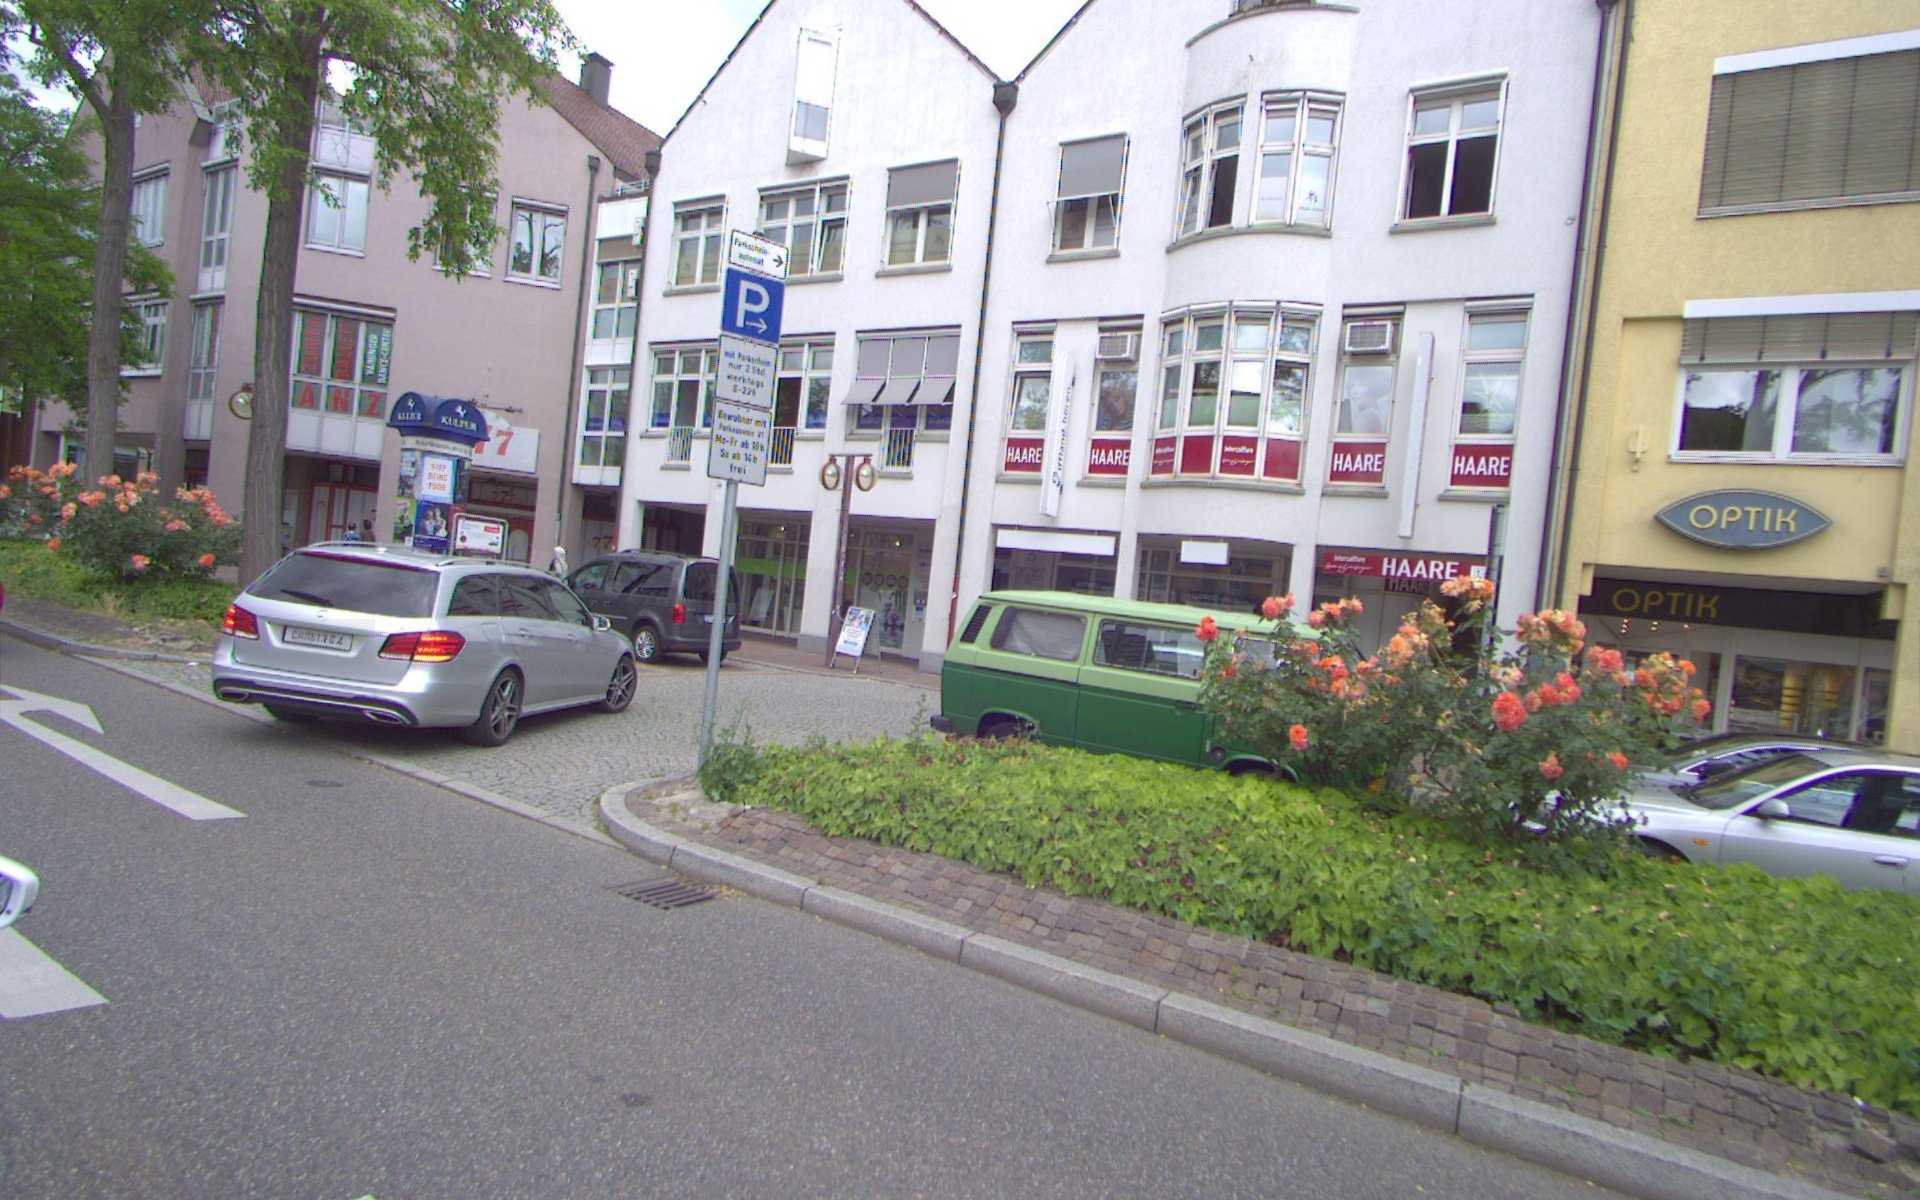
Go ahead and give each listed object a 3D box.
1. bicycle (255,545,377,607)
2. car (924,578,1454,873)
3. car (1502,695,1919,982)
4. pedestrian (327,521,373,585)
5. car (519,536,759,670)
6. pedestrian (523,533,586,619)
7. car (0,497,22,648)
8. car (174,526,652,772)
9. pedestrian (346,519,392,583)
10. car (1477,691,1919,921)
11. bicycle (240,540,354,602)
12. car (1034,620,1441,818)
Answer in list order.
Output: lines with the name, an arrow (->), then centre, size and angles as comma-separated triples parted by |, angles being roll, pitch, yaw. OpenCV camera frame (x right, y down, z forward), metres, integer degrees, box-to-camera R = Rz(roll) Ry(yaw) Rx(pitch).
bicycle -> -12.570, -0.449, 19.686 | 0.460, 1.009, 1.902 | 7, 0, 35
car -> 2.145, 1.002, 9.802 | 4.527, 1.900, 1.882 | 7, 2, 30
car -> 6.507, 1.767, 7.342 | 4.344, 1.468, 1.765 | 7, 0, 30
pedestrian -> -15.697, -1.198, 25.884 | 0.610, 1.534, 0.612 | 7, 0, 10
car -> -5.723, 0.037, 17.853 | 3.897, 1.855, 1.640 | 7, 1, 27
pedestrian -> -8.431, -0.500, 20.925 | 0.805, 1.681, 0.789 | 7, 3, 31
car -> -10.470, -0.446, 9.380 | 3.293, 1.459, 1.590 | 7, -2, 32
car -> -4.480, 0.385, 9.186 | 1.787, 1.465, 4.370 | 8, -1, 0
pedestrian -> -15.578, -1.276, 26.538 | 0.610, 1.583, 0.665 | 7, 0, 10
car -> 7.646, 1.942, 9.923 | 4.344, 1.394, 1.999 | 7, 1, 30
bicycle -> -13.077, -0.548, 19.888 | 0.440, 1.009, 1.769 | 7, 0, 35
car -> 3.305, 1.287, 12.200 | 4.319, 1.562, 1.798 | 7, 1, 30
